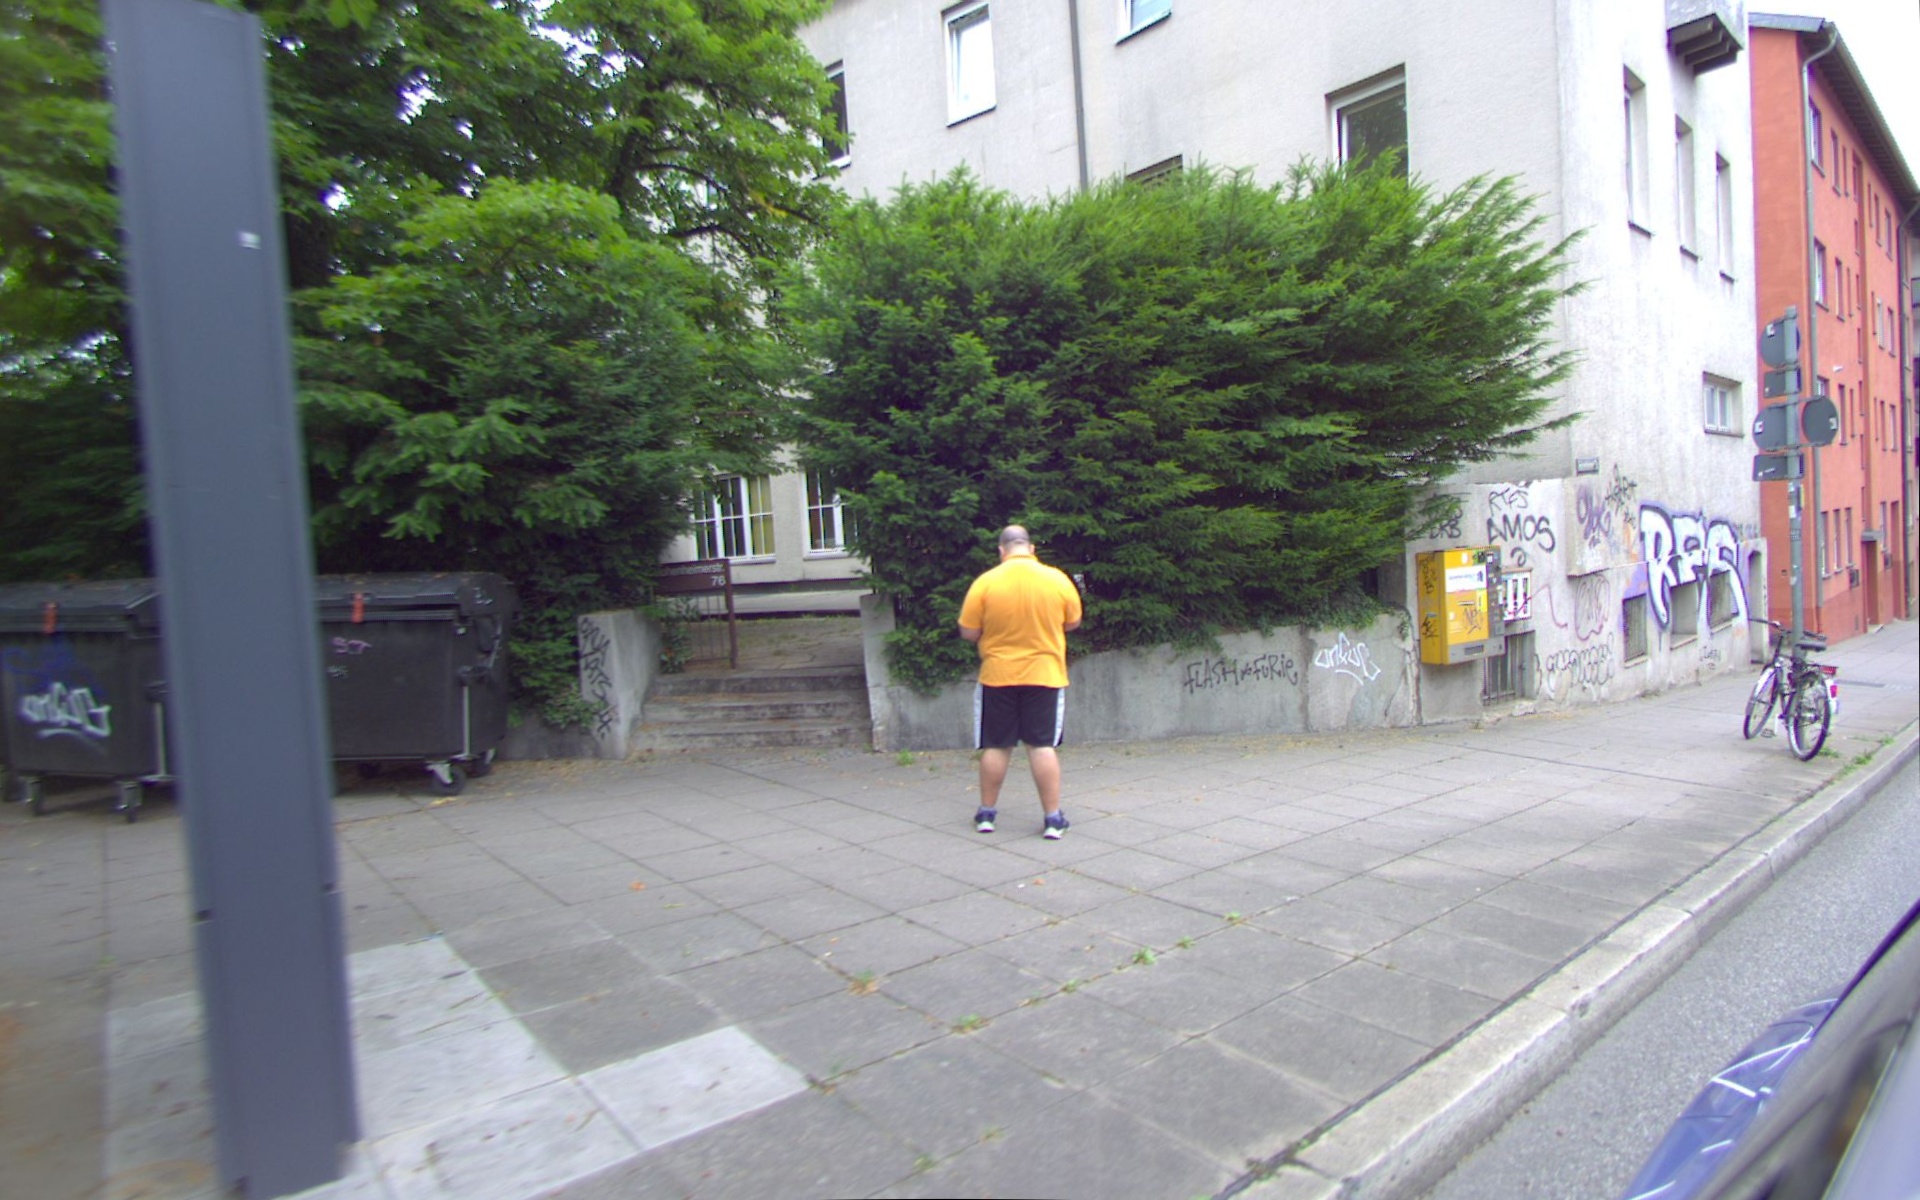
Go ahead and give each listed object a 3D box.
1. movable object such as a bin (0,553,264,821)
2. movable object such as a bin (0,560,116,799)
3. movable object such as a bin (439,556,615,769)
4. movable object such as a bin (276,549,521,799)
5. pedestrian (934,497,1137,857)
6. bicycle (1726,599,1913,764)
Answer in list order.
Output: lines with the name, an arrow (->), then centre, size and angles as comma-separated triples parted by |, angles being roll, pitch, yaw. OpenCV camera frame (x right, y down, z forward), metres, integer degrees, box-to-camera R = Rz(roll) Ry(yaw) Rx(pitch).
movable object such as a bin -> -5.302, 0.502, 6.446 | 1.240, 1.555, 0.840 | 0, 0, 15
movable object such as a bin -> -6.758, 0.533, 7.033 | 1.183, 1.555, 0.839 | -2, 0, 17
movable object such as a bin -> -3.280, 0.436, 7.772 | 0.796, 1.505, 1.078 | -2, 1, 4
movable object such as a bin -> -3.707, 0.459, 6.764 | 1.129, 1.554, 0.843 | -1, 1, 4
pedestrian -> 0.373, 0.358, 5.391 | 0.818, 1.733, 0.823 | 0, 1, -19
bicycle -> 7.188, 0.604, 8.580 | 0.634, 1.157, 2.049 | 1, 2, 24
